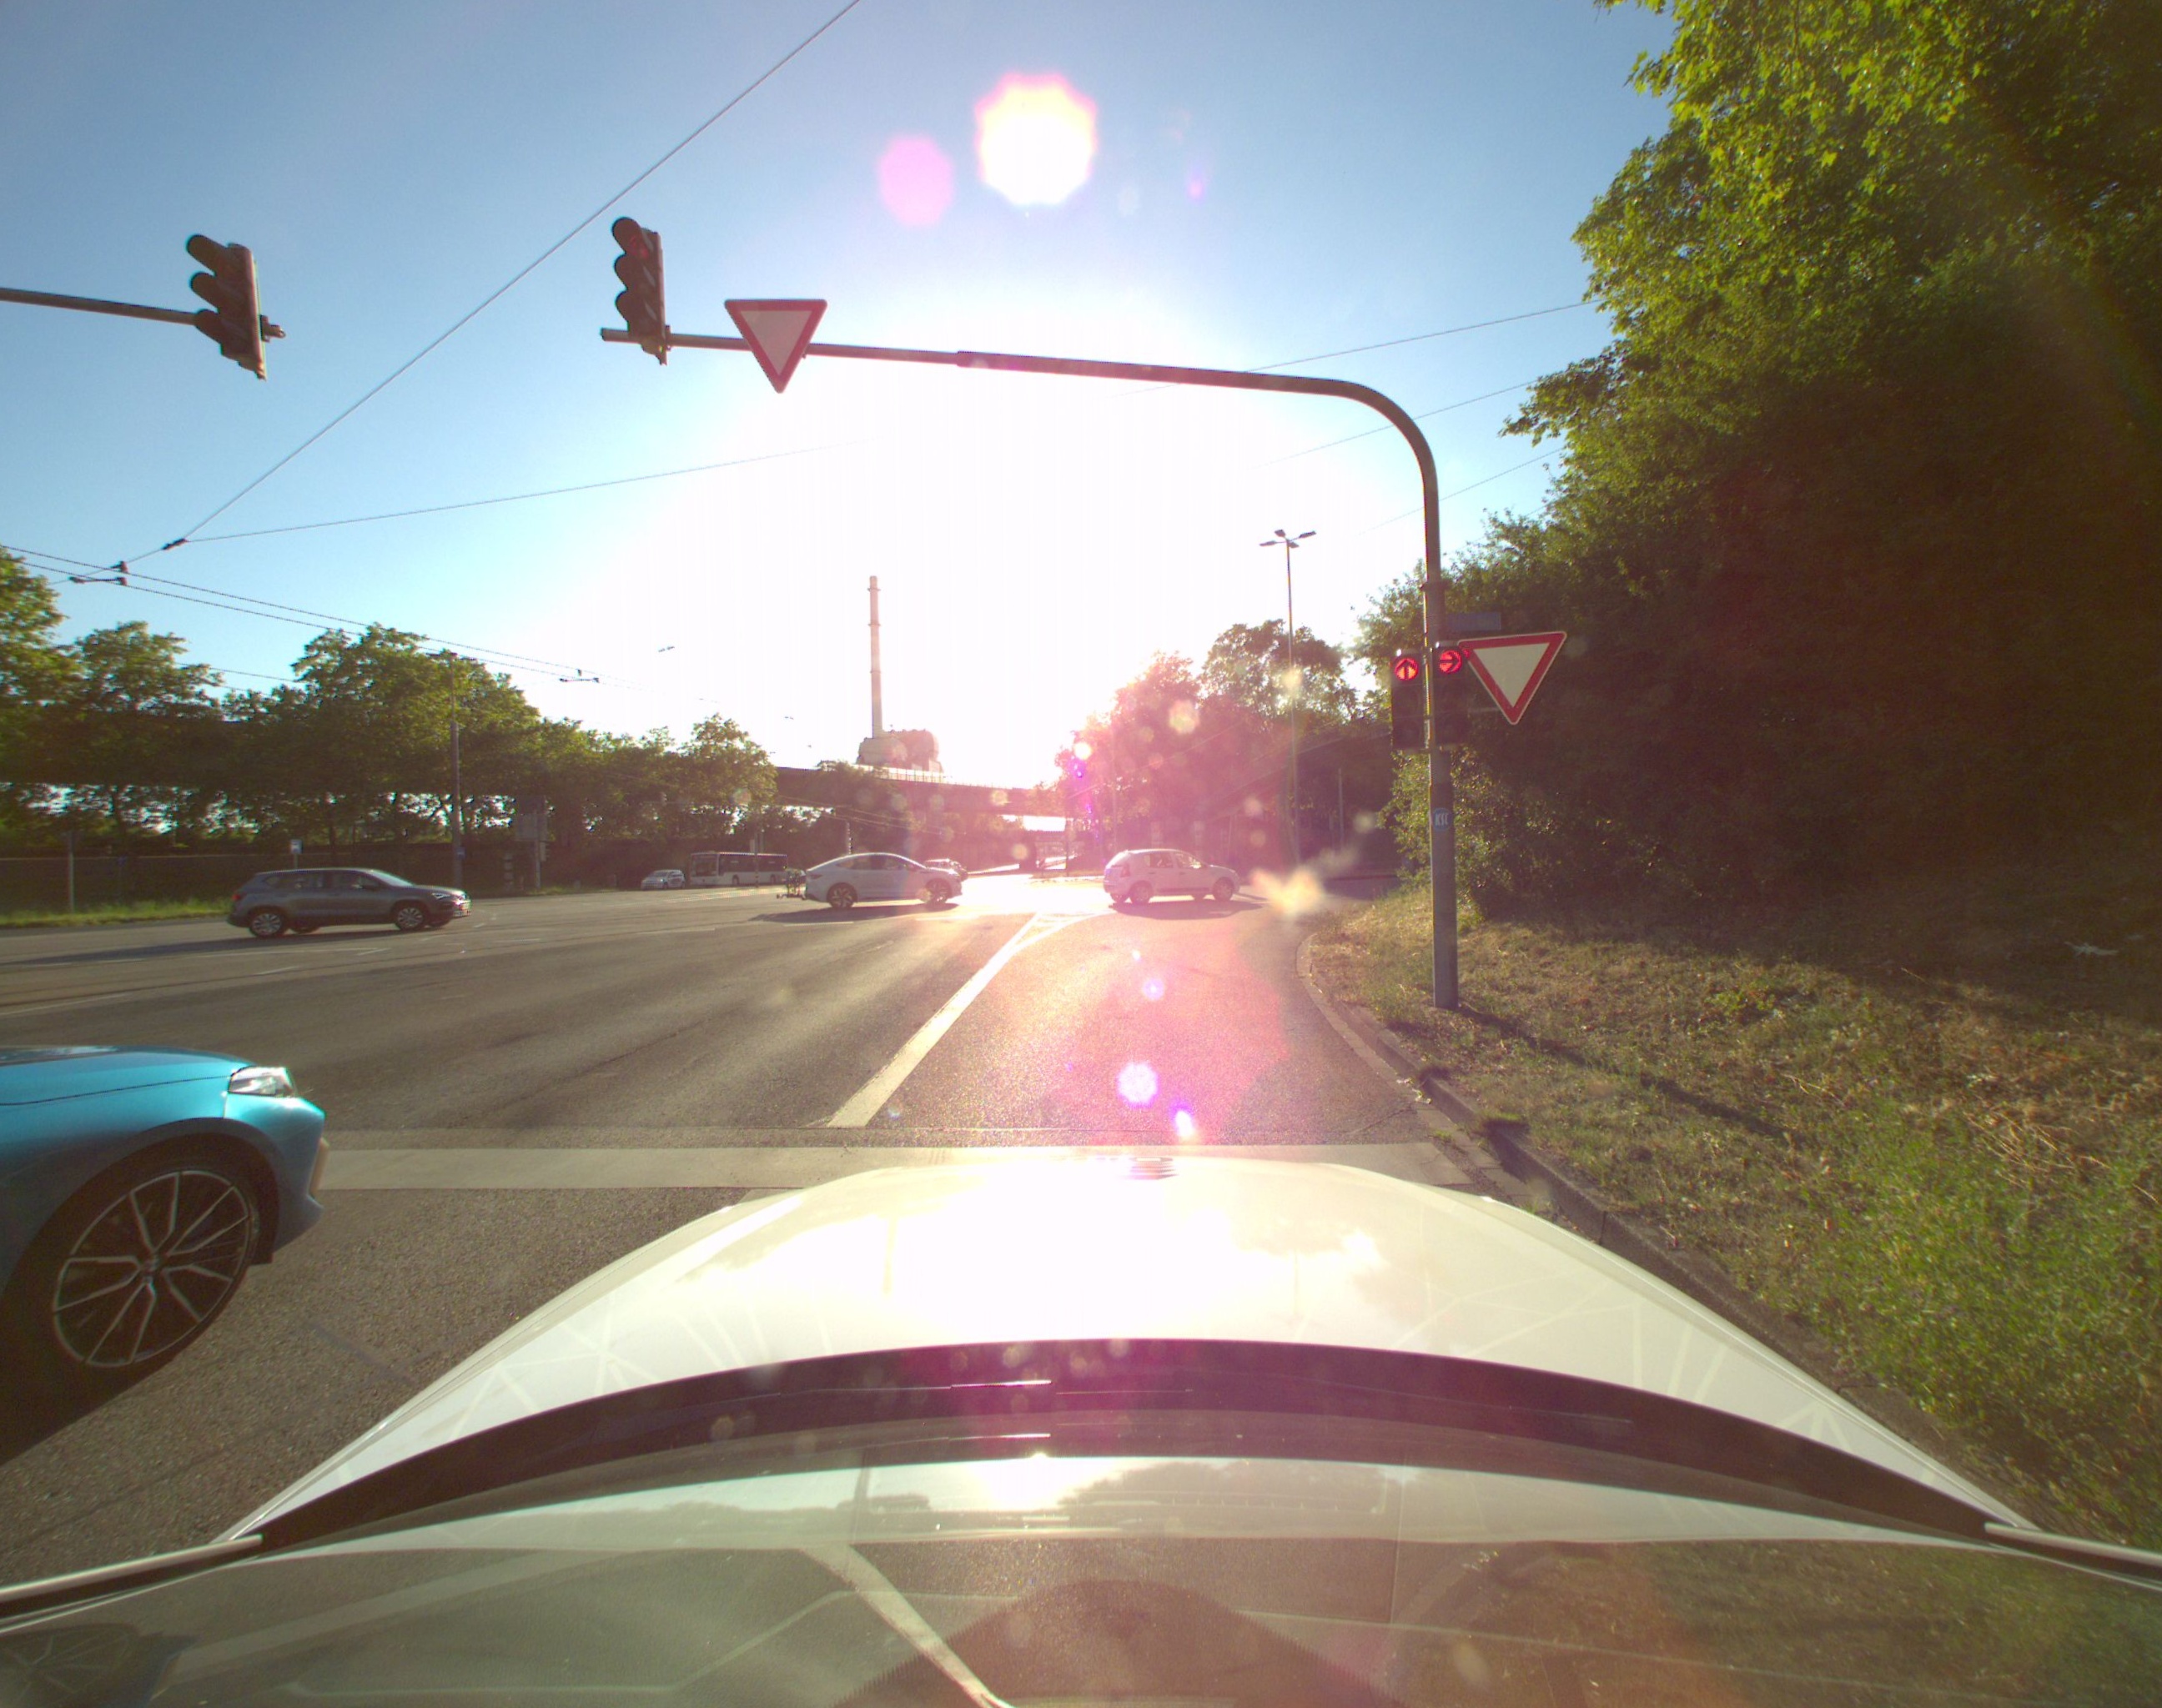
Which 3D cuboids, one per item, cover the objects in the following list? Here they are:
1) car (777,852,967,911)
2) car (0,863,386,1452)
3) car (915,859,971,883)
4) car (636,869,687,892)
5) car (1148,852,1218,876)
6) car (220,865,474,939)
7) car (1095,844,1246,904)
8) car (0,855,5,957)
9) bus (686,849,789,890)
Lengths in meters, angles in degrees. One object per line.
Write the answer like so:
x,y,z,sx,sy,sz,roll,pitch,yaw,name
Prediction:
-6.247,0.780,24.491,5.366,1.575,1.729,-1,0,-19,car
-3.570,0.798,1.075,1.709,1.466,4.205,-2,0,-1,car
-8.790,1.056,52.187,1.651,1.405,4.217,-1,0,19,car
-30.137,1.915,58.646,1.601,1.512,4.007,-1,0,0,car
7.133,0.664,57.102,4.585,1.575,1.685,-1,0,-16,car
-17.724,1.101,19.942,4.253,1.575,1.681,-1,0,-23,car
2.587,0.553,23.522,4.001,1.575,1.682,-1,0,-20,car
-23.115,1.050,14.177,4.945,1.991,2.023,-1,0,-20,car
-29.429,1.373,70.746,2.532,3.130,12.931,-2,-2,4,bus
